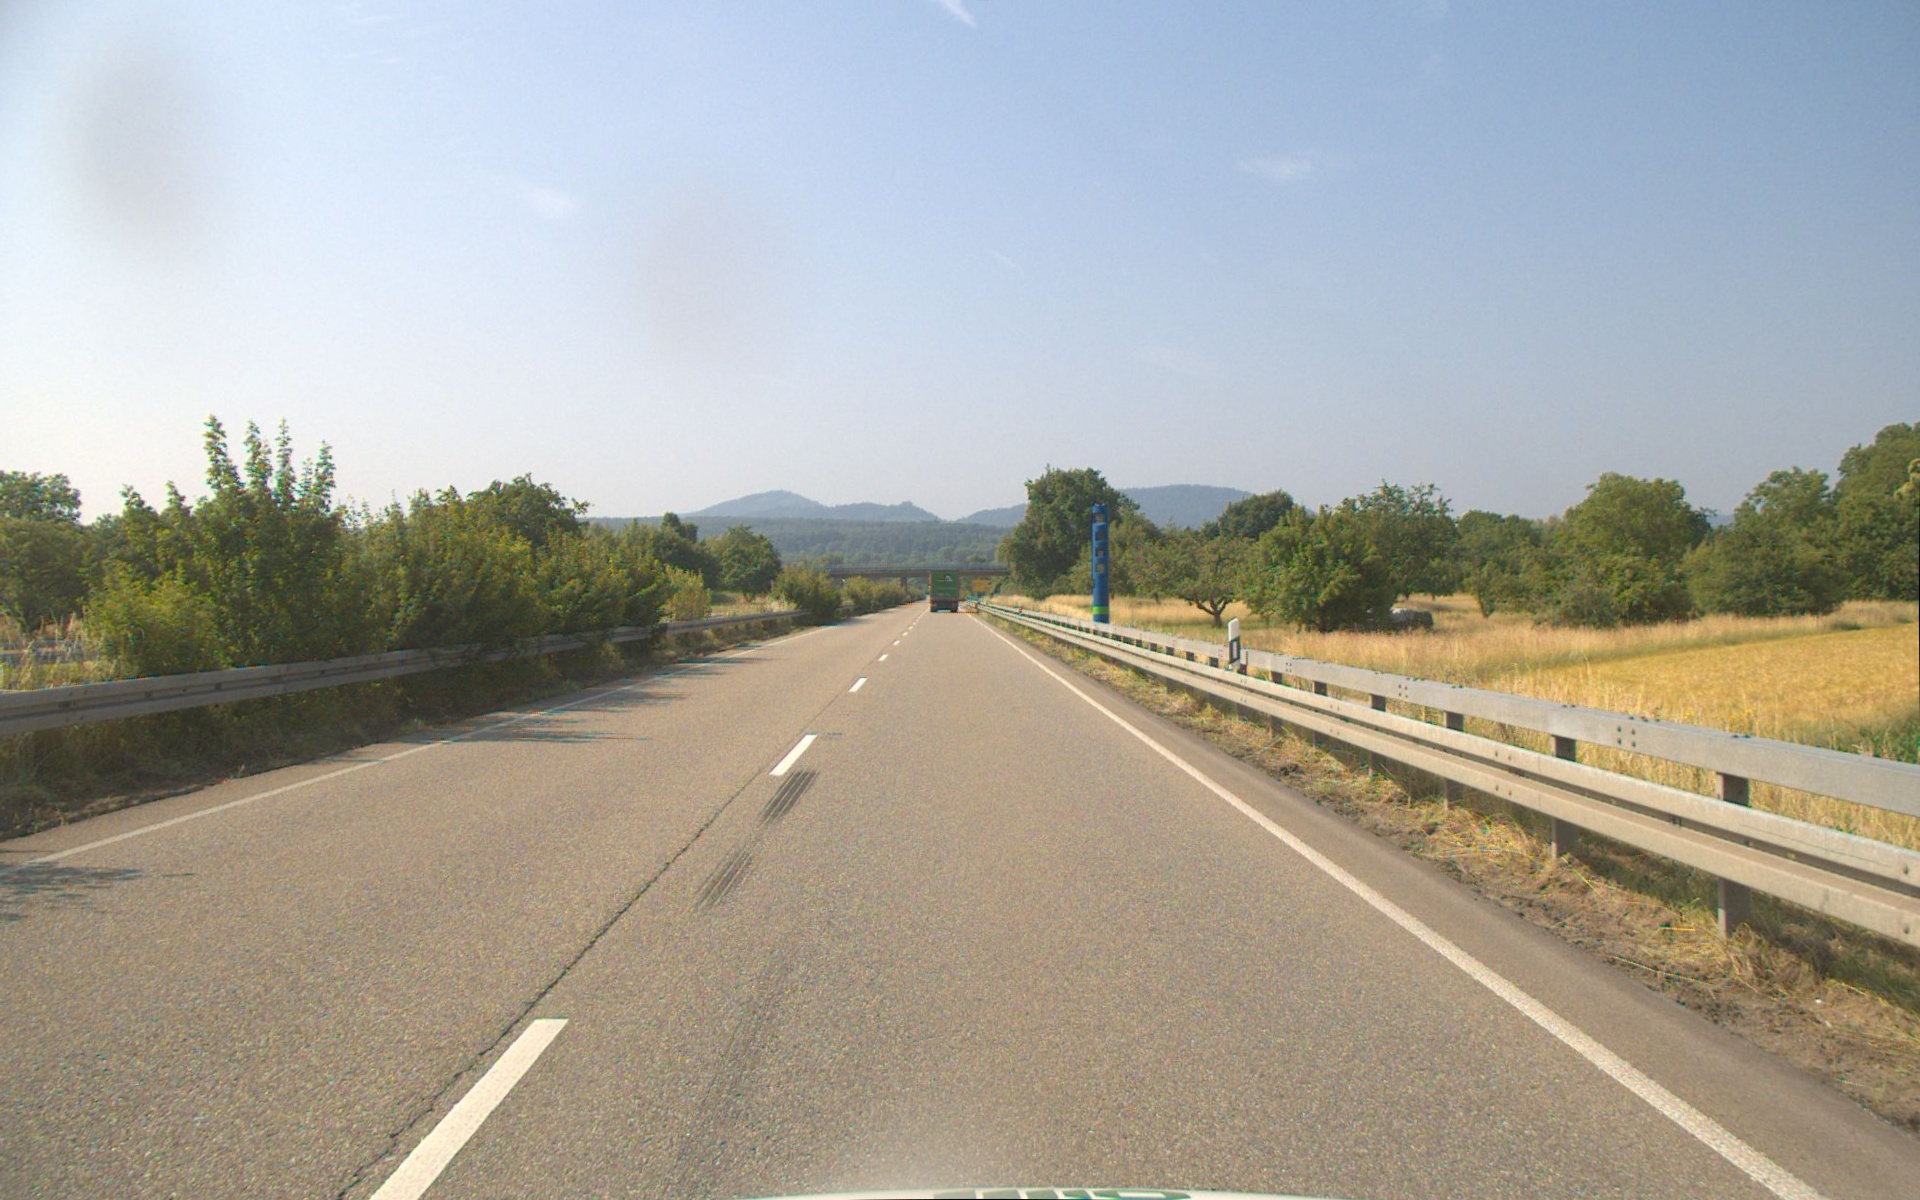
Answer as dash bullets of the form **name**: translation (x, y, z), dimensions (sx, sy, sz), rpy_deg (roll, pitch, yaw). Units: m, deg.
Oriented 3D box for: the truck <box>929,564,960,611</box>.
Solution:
- **truck**: translation (-1.365, -1.199, 148.222), dimensions (2.666, 4.034, 10.416), rpy_deg (1, 1, 0)
